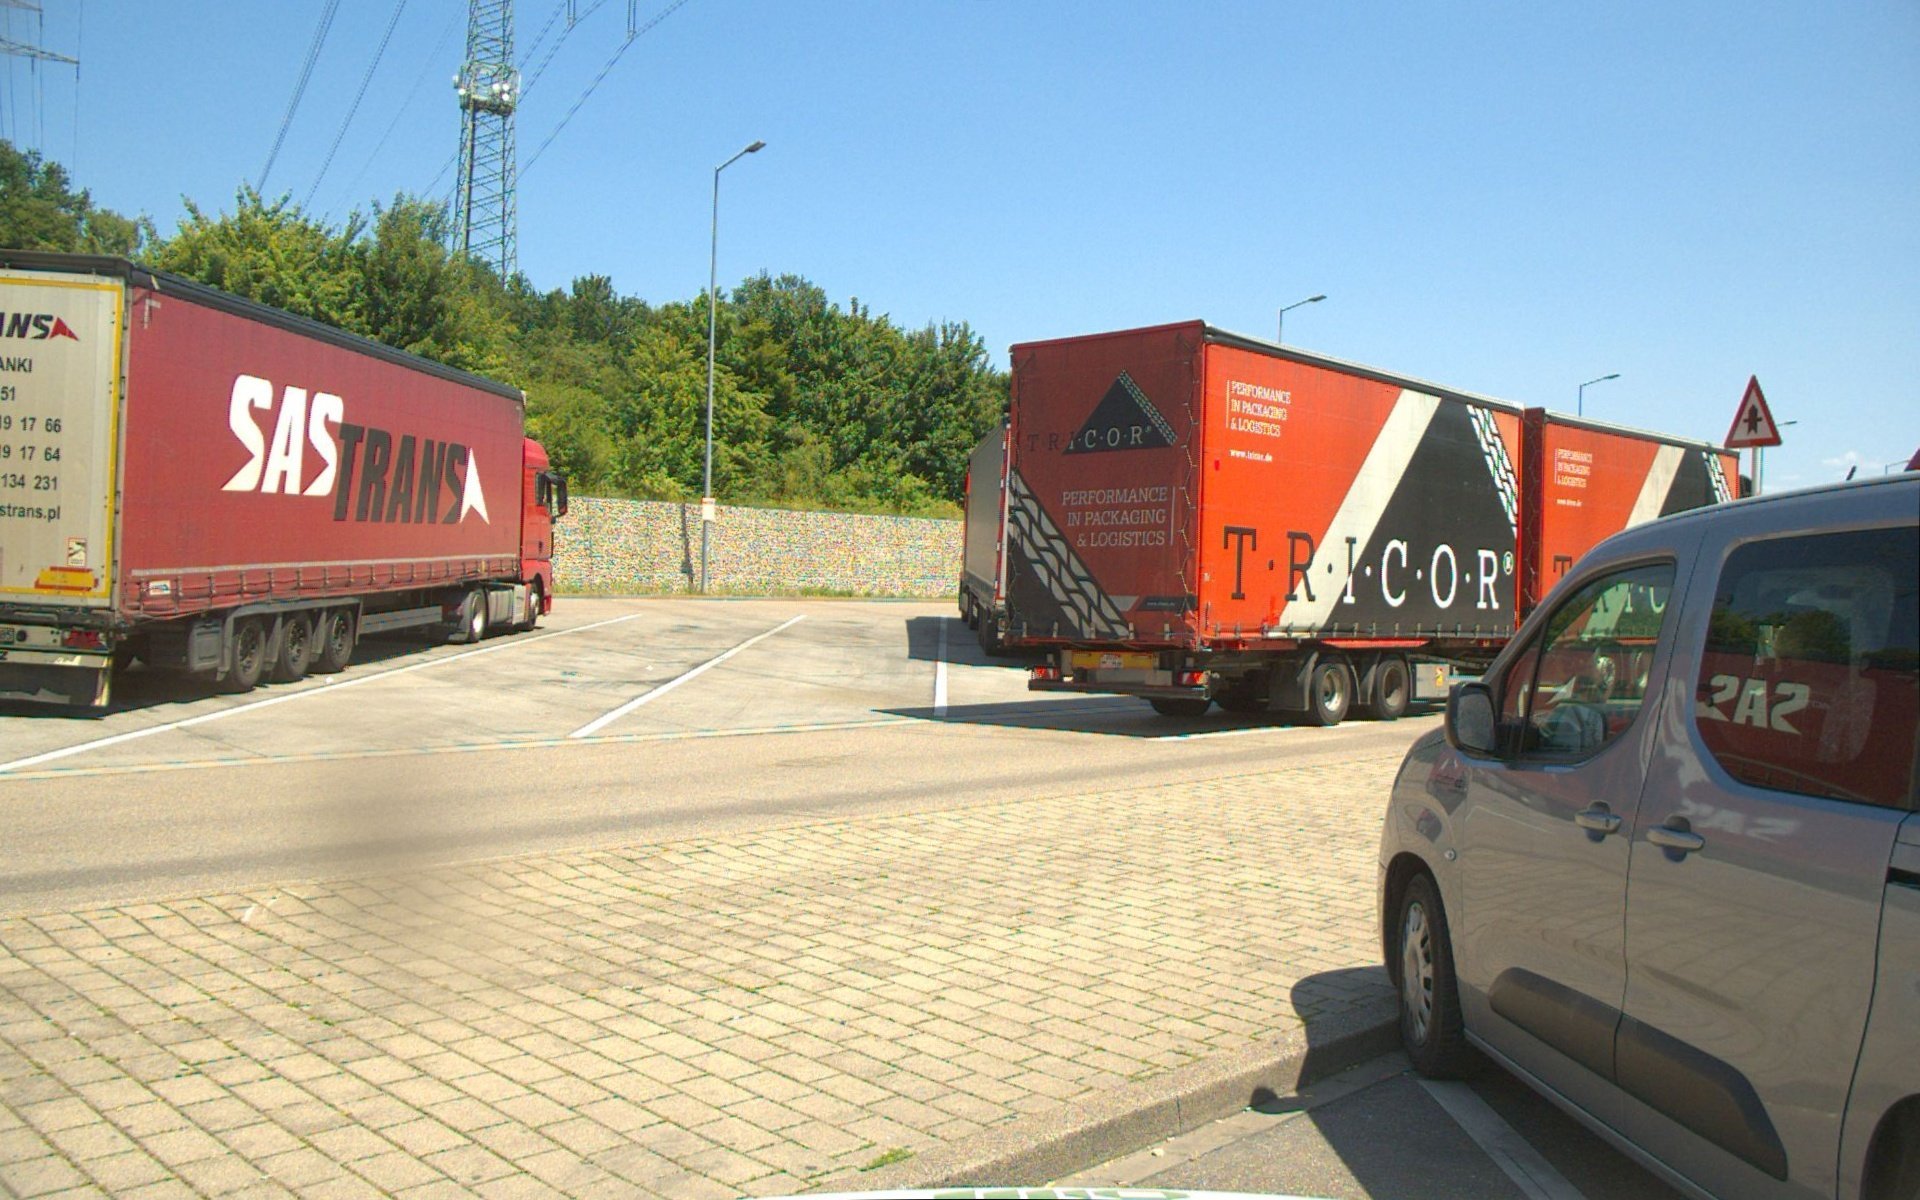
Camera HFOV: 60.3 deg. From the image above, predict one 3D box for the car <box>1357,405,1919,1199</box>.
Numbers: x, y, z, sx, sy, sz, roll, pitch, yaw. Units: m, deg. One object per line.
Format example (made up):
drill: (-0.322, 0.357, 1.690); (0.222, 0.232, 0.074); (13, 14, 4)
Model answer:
car: (2.429, 0.554, 3.824); (1.790, 1.784, 3.997); (1, 1, -4)

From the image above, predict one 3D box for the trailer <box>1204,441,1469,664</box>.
trailer: (8.200, -1.046, 38.397); (2.818, 4.196, 13.569); (1, 1, -1)

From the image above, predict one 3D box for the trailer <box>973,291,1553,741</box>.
trailer: (4.072, -0.860, 20.111); (2.793, 4.332, 8.632); (2, 1, 42)

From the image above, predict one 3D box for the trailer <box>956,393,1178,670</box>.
trailer: (1.691, -1.316, 32.686); (3.008, 4.301, 12.805); (2, 2, -2)

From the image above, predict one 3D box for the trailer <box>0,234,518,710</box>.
trailer: (-8.686, -1.260, 21.043); (2.694, 4.128, 13.284); (1, 1, -1)

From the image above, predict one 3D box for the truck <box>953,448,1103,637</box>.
truck: (1.458, -1.380, 39.452); (2.965, 3.997, 6.845); (2, 2, -2)

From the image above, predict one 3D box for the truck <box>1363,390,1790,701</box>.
truck: (10.475, -0.775, 27.097); (2.648, 4.199, 10.534); (1, 1, 43)

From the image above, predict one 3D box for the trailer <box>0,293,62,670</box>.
trailer: (-12.415, -1.311, 15.453); (2.689, 4.337, 9.733); (1, 1, 0)

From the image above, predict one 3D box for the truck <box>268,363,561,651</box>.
truck: (-8.782, -1.421, 27.545); (2.687, 4.152, 6.828); (1, 1, -1)

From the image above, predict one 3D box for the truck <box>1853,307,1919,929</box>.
truck: (4.975, 0.126, 4.945); (1.952, 2.669, 5.305); (1, 1, 3)
